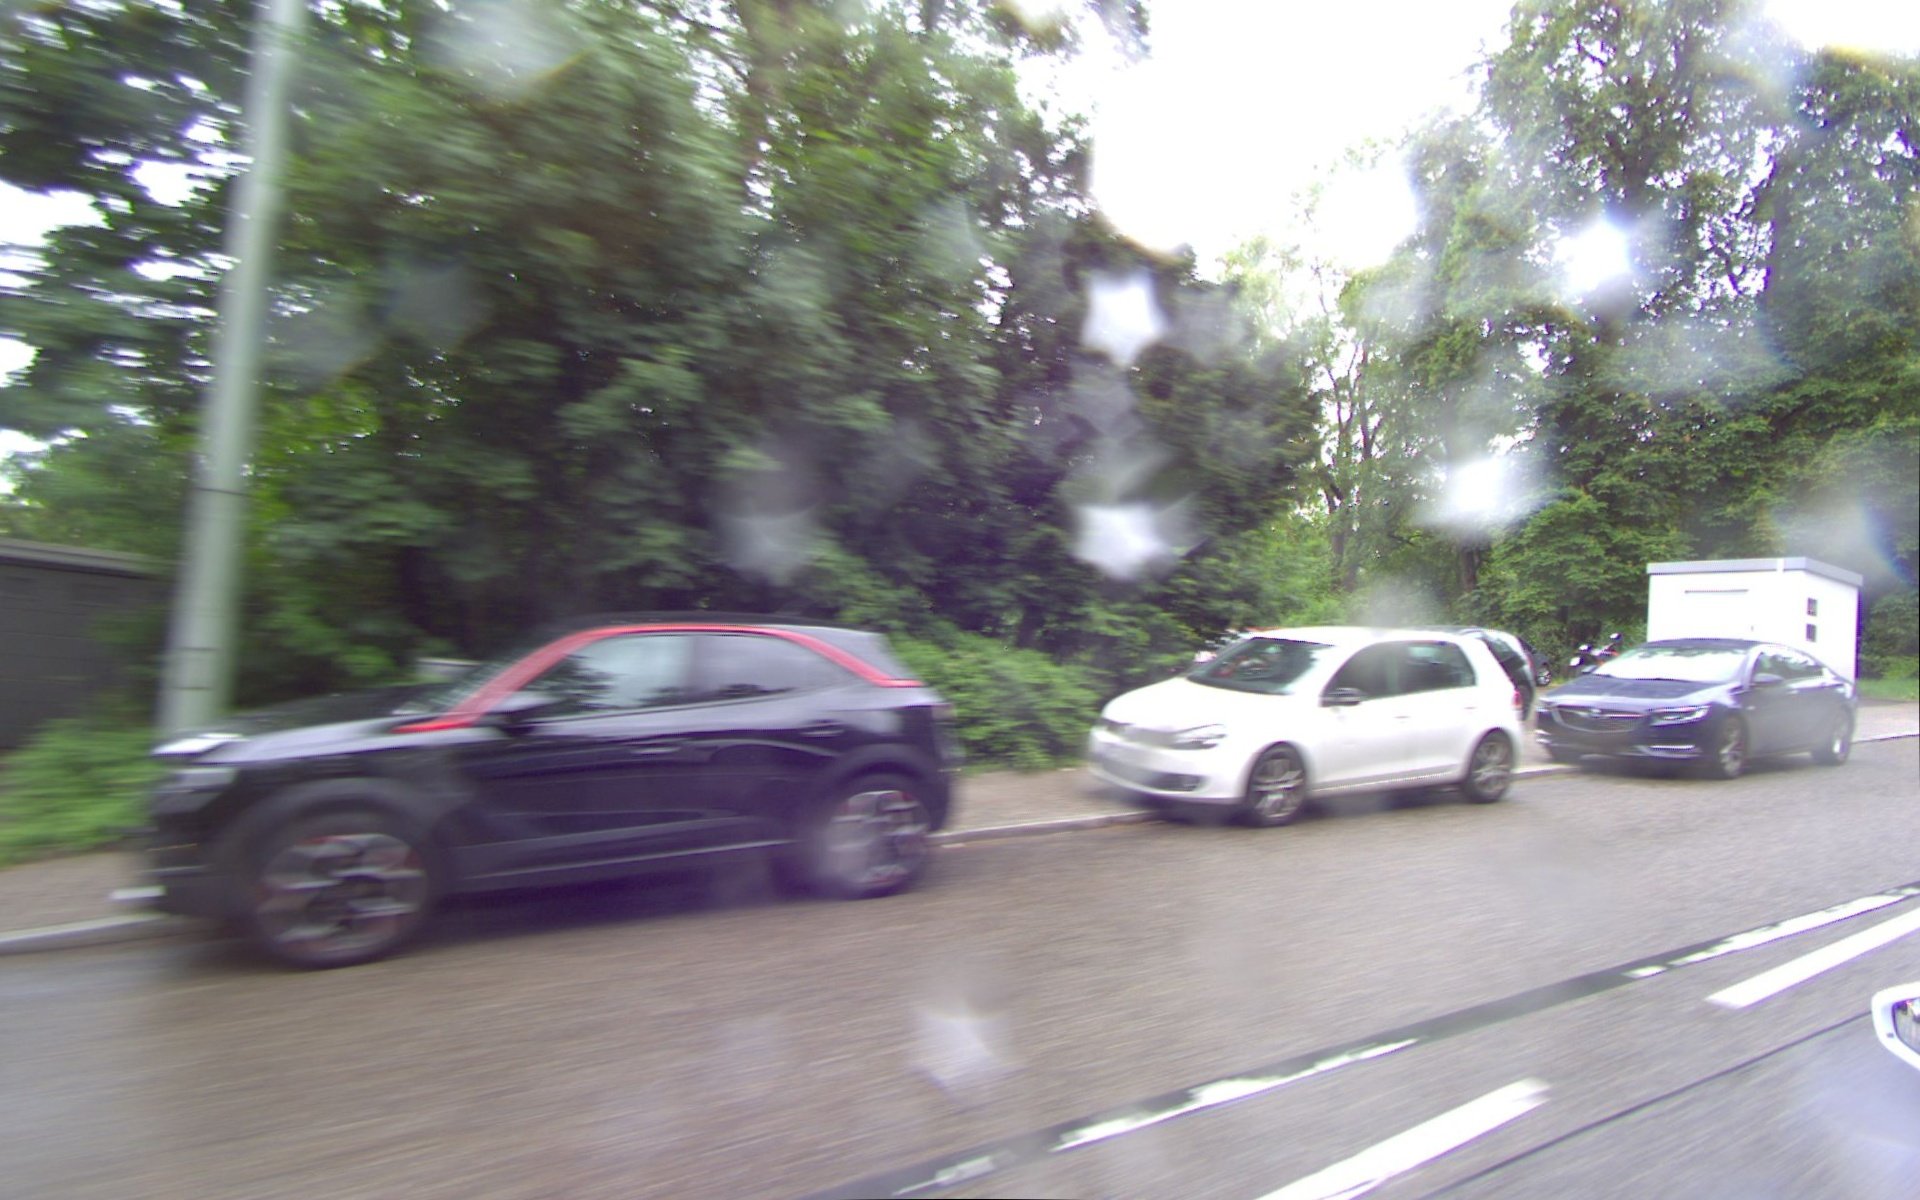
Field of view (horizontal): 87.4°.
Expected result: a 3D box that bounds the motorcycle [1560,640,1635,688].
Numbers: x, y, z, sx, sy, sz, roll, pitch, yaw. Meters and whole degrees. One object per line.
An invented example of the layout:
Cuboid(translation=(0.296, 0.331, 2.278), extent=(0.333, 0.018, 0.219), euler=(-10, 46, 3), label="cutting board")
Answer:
Cuboid(translation=(16.373, 1.626, 25.793), extent=(2.249, 1.204, 0.598), euler=(1, -1, -28), label="motorcycle")

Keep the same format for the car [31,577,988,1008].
Cuboid(translation=(-2.043, 0.811, 5.517), extent=(4.132, 1.625, 1.639), euler=(1, -4, -28), label="car")

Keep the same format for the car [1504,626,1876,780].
Cuboid(translation=(8.747, 1.124, 11.933), extent=(4.701, 1.512, 1.851), euler=(1, -5, -31), label="car")

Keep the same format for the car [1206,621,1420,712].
Cuboid(translation=(6.361, 1.133, 18.016), extent=(3.730, 1.478, 1.613), euler=(1, -1, -30), label="car")

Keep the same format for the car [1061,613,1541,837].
Cuboid(translation=(3.046, 0.942, 8.841), extent=(4.095, 1.590, 1.650), euler=(1, -2, -28), label="car")

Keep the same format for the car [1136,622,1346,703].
Cuboid(translation=(5.646, 1.191, 20.015), extent=(4.192, 1.478, 1.588), euler=(1, -1, -30), label="car")

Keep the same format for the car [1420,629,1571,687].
Cuboid(translation=(15.023, 1.577, 28.118), extent=(4.350, 1.478, 1.933), euler=(1, -2, -34), label="car")

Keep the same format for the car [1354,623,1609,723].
Cuboid(translation=(8.688, 1.136, 16.644), extent=(4.345, 1.478, 1.714), euler=(1, -1, -30), label="car")
